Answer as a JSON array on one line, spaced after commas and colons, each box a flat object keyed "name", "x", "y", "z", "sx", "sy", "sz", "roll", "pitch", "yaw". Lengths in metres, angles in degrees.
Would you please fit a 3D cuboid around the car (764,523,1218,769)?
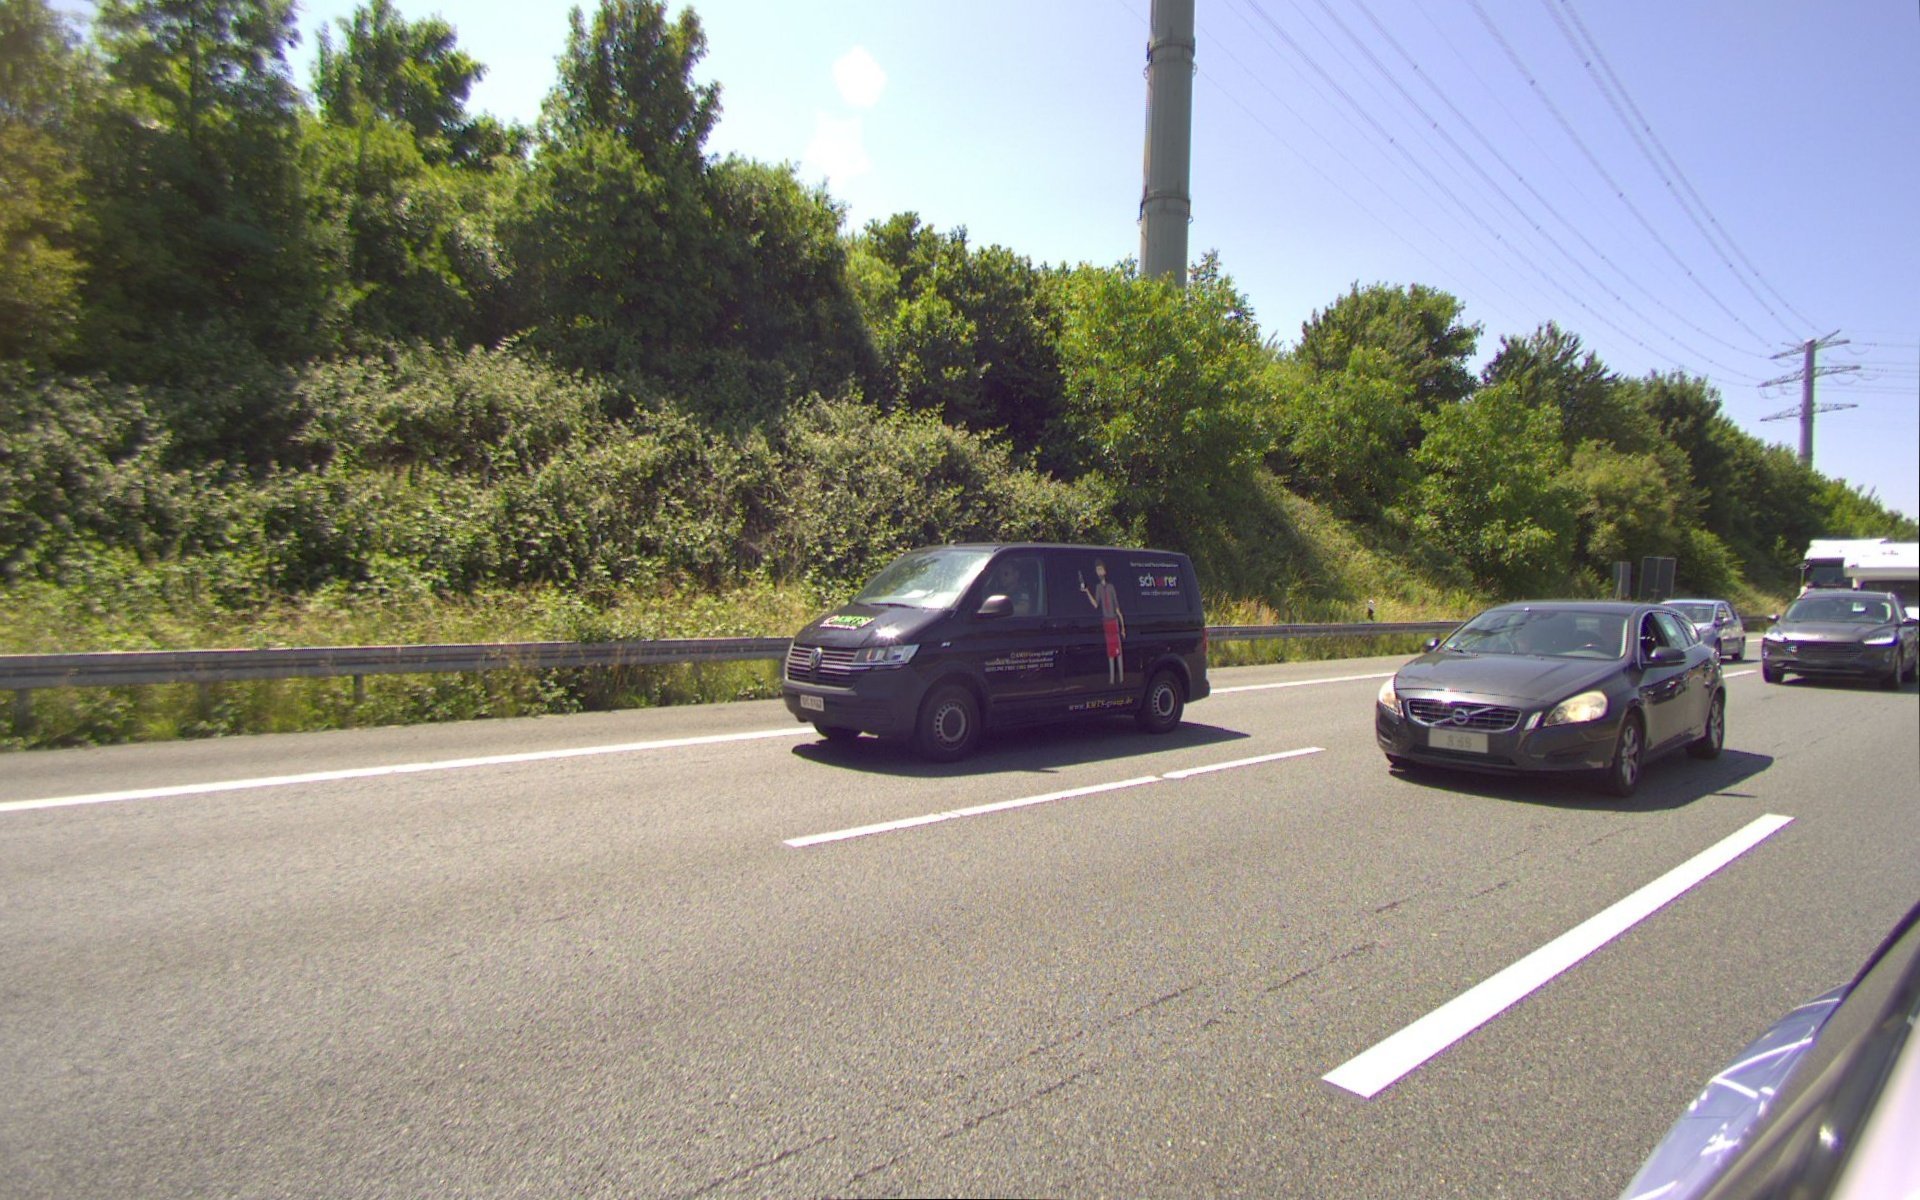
[{"name": "car", "x": 0.501, "y": 0.347, "z": 10.161, "sx": 4.617, "sy": 1.928, "sz": 1.787, "roll": 0, "pitch": 0, "yaw": -42}]

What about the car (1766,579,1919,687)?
[{"name": "car", "x": 16.207, "y": 0.508, "z": 18.309, "sx": 4.309, "sy": 1.724, "sz": 1.890, "roll": 0, "pitch": 0, "yaw": -42}]

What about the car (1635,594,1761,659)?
[{"name": "car", "x": 18.026, "y": 0.595, "z": 24.676, "sx": 3.668, "sy": 1.455, "sz": 1.798, "roll": 0, "pitch": 0, "yaw": -42}]

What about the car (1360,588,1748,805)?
[{"name": "car", "x": 5.346, "y": 0.631, "z": 8.867, "sx": 4.158, "sy": 1.455, "sz": 1.798, "roll": 0, "pitch": 0, "yaw": -42}]

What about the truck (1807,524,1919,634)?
[{"name": "truck", "x": 39.032, "y": -0.831, "z": 43.152, "sx": 11.457, "sy": 4.204, "sz": 2.653, "roll": 0, "pitch": 0, "yaw": -41}]

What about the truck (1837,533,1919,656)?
[{"name": "truck", "x": 27.275, "y": -0.161, "z": 28.399, "sx": 9.722, "sy": 3.053, "sz": 2.513, "roll": 0, "pitch": 0, "yaw": -40}]
